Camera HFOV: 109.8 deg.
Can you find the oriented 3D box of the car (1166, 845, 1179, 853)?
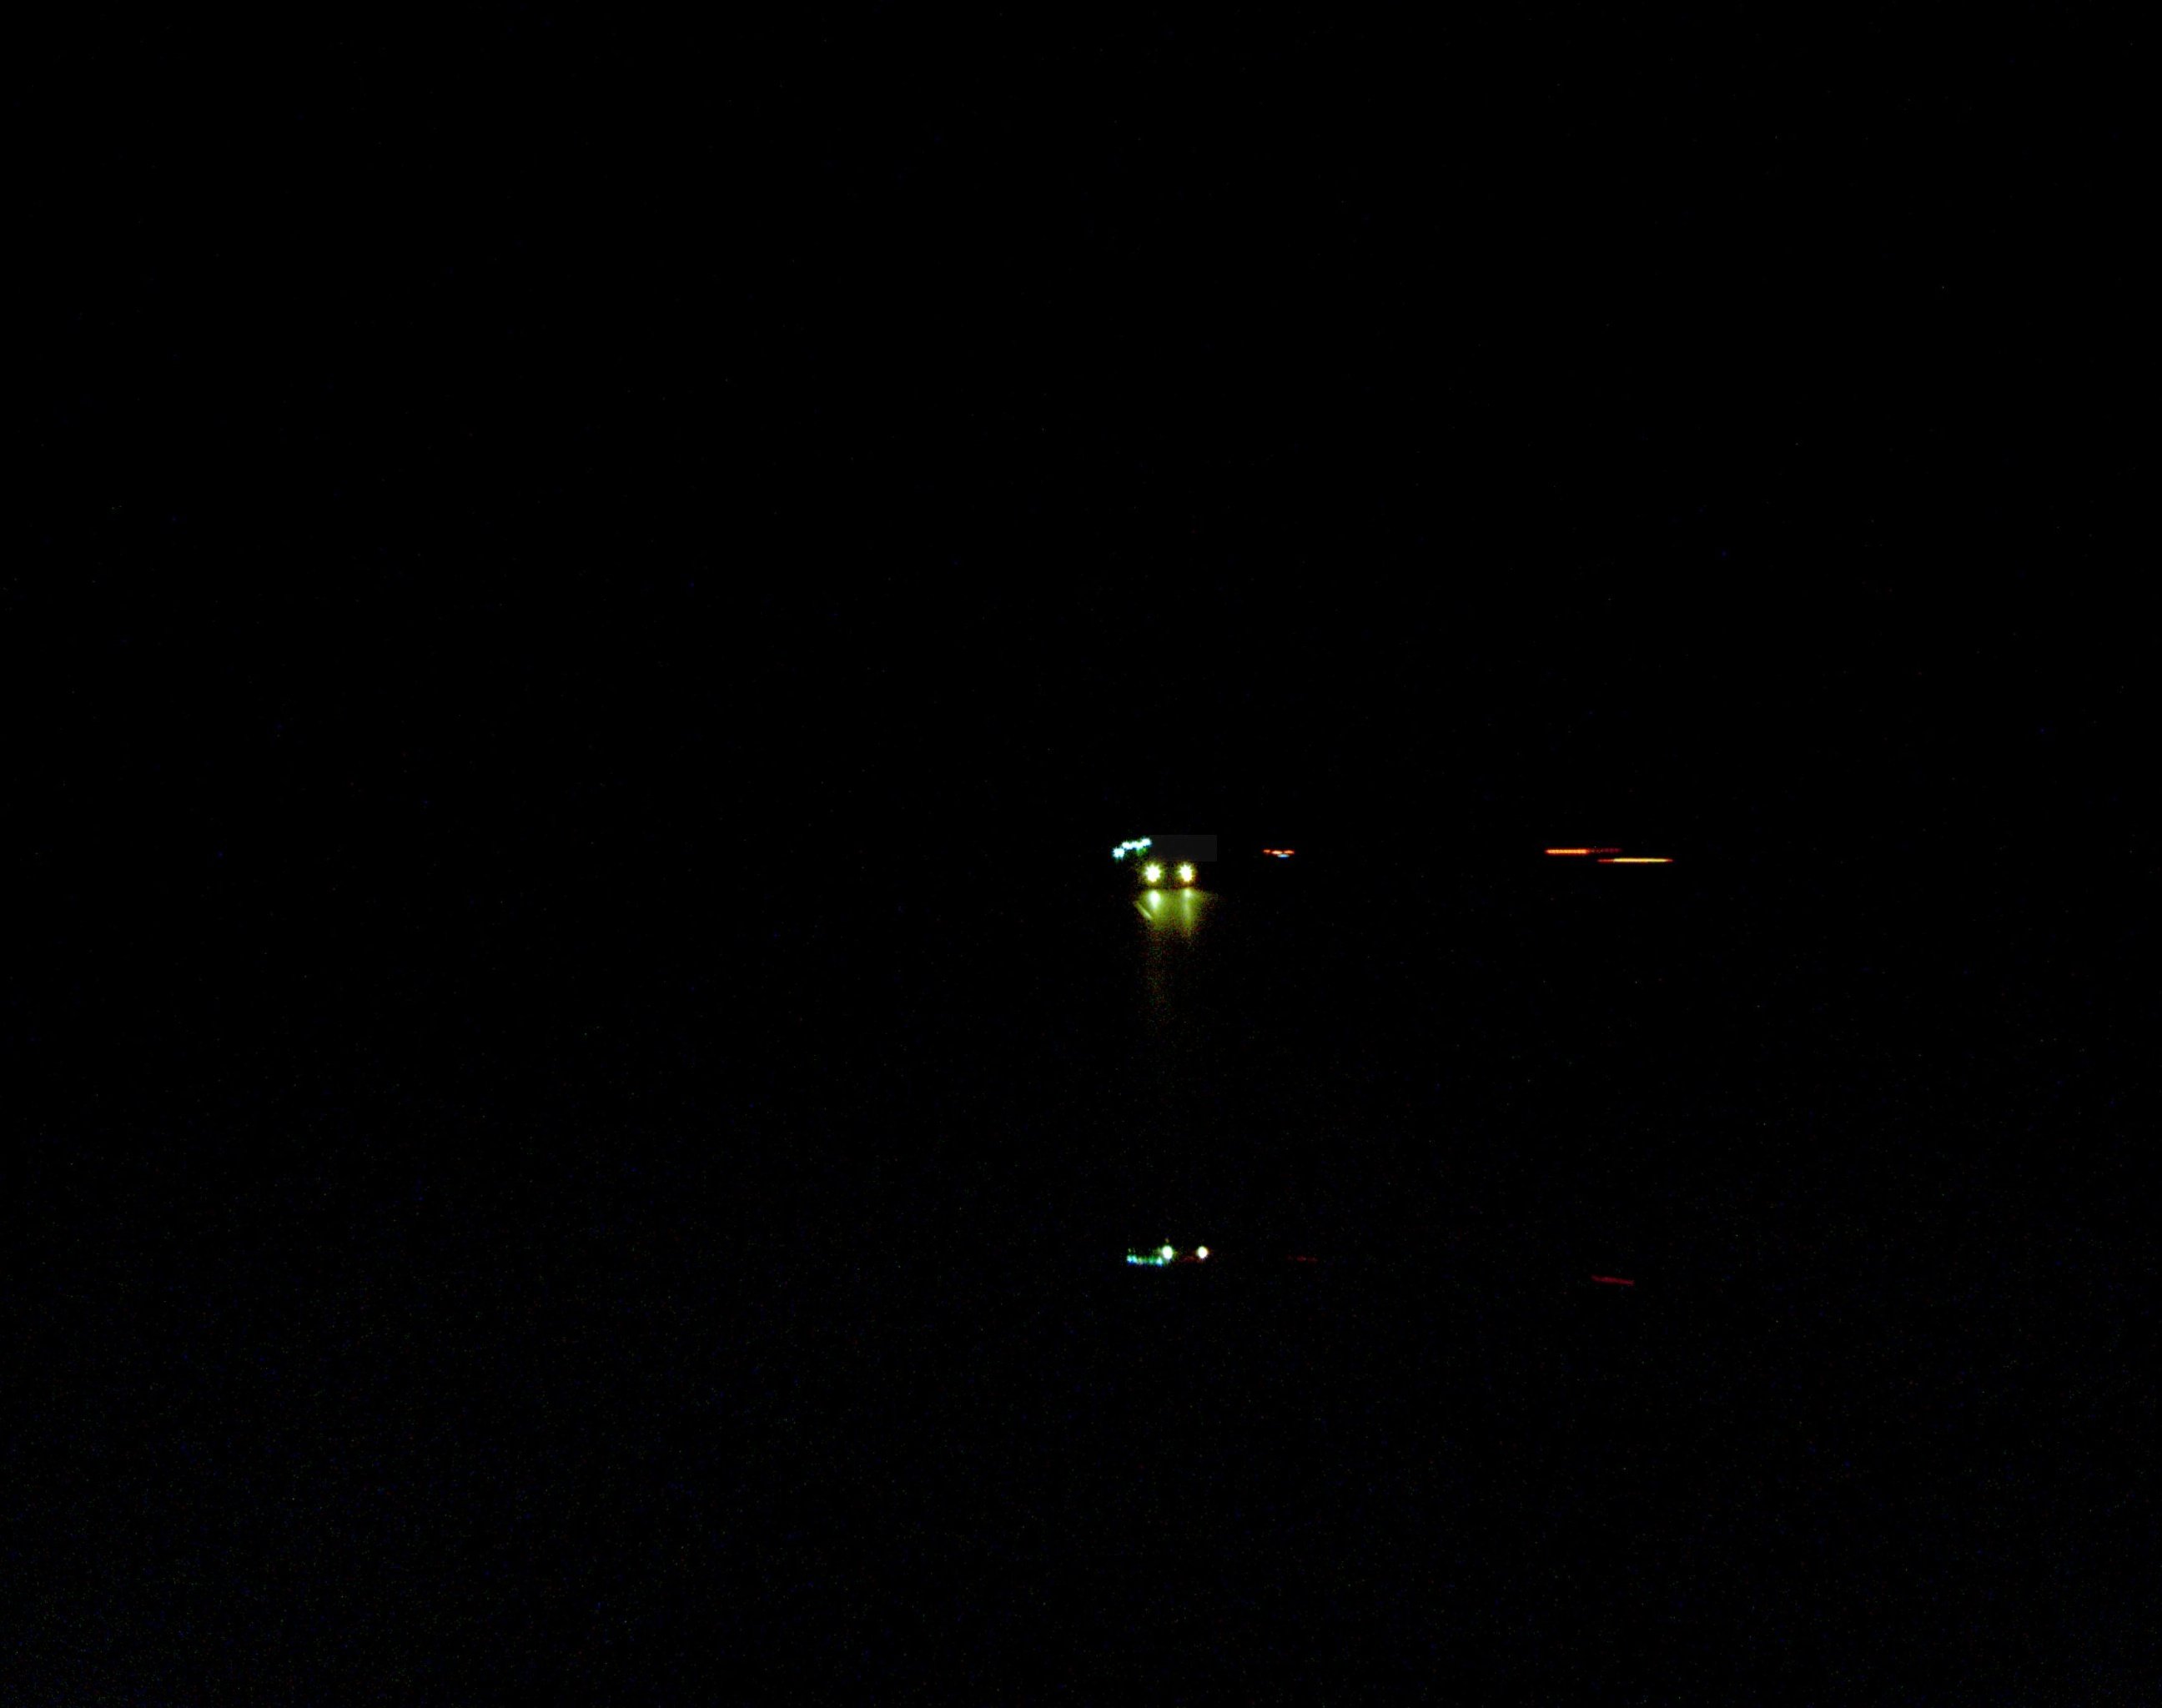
[{"bbox_3d":[20.038,-1.140,166.605,2.124,1.711,5.626,-3,0,0],"label":"car"}]

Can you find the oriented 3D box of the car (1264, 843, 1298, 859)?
[{"bbox_3d":[20.827,-0.312,79.311,2.124,1.546,5.108,-3,0,0],"label":"car"}]

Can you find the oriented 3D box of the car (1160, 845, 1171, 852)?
[{"bbox_3d":[21.959,-1.420,197.067,2.124,1.711,5.626,-3,0,0],"label":"car"}]

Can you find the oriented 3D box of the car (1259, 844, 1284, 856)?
[{"bbox_3d":[26.126,-0.518,104.405,2.124,1.546,5.109,-3,0,2],"label":"car"}]

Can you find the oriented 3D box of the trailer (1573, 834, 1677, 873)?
[{"bbox_3d":[23.199,-0.014,32.537,2.189,1.472,3.129,-3,0,1],"label":"trailer"}]

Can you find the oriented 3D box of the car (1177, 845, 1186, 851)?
[{"bbox_3d":[29.792,-1.720,225.774,2.124,1.710,5.192,-3,0,0],"label":"car"}]

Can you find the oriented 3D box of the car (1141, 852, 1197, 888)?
[{"bbox_3d":[4.105,0.705,36.462,1.998,1.509,5.650,-3,0,0],"label":"car"}]

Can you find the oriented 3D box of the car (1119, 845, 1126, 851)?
[{"bbox_3d":[12.229,-1.837,221.945,1.998,1.653,4.000,-2,1,3],"label":"car"}]

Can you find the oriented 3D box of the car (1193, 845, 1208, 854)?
[{"bbox_3d":[23.110,-0.843,146.959,2.124,1.687,5.108,-3,0,0],"label":"car"}]

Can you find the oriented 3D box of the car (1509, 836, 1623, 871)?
[{"bbox_3d":[23.261,-0.024,36.740,2.189,1.472,5.242,-3,0,1],"label":"car"}]
